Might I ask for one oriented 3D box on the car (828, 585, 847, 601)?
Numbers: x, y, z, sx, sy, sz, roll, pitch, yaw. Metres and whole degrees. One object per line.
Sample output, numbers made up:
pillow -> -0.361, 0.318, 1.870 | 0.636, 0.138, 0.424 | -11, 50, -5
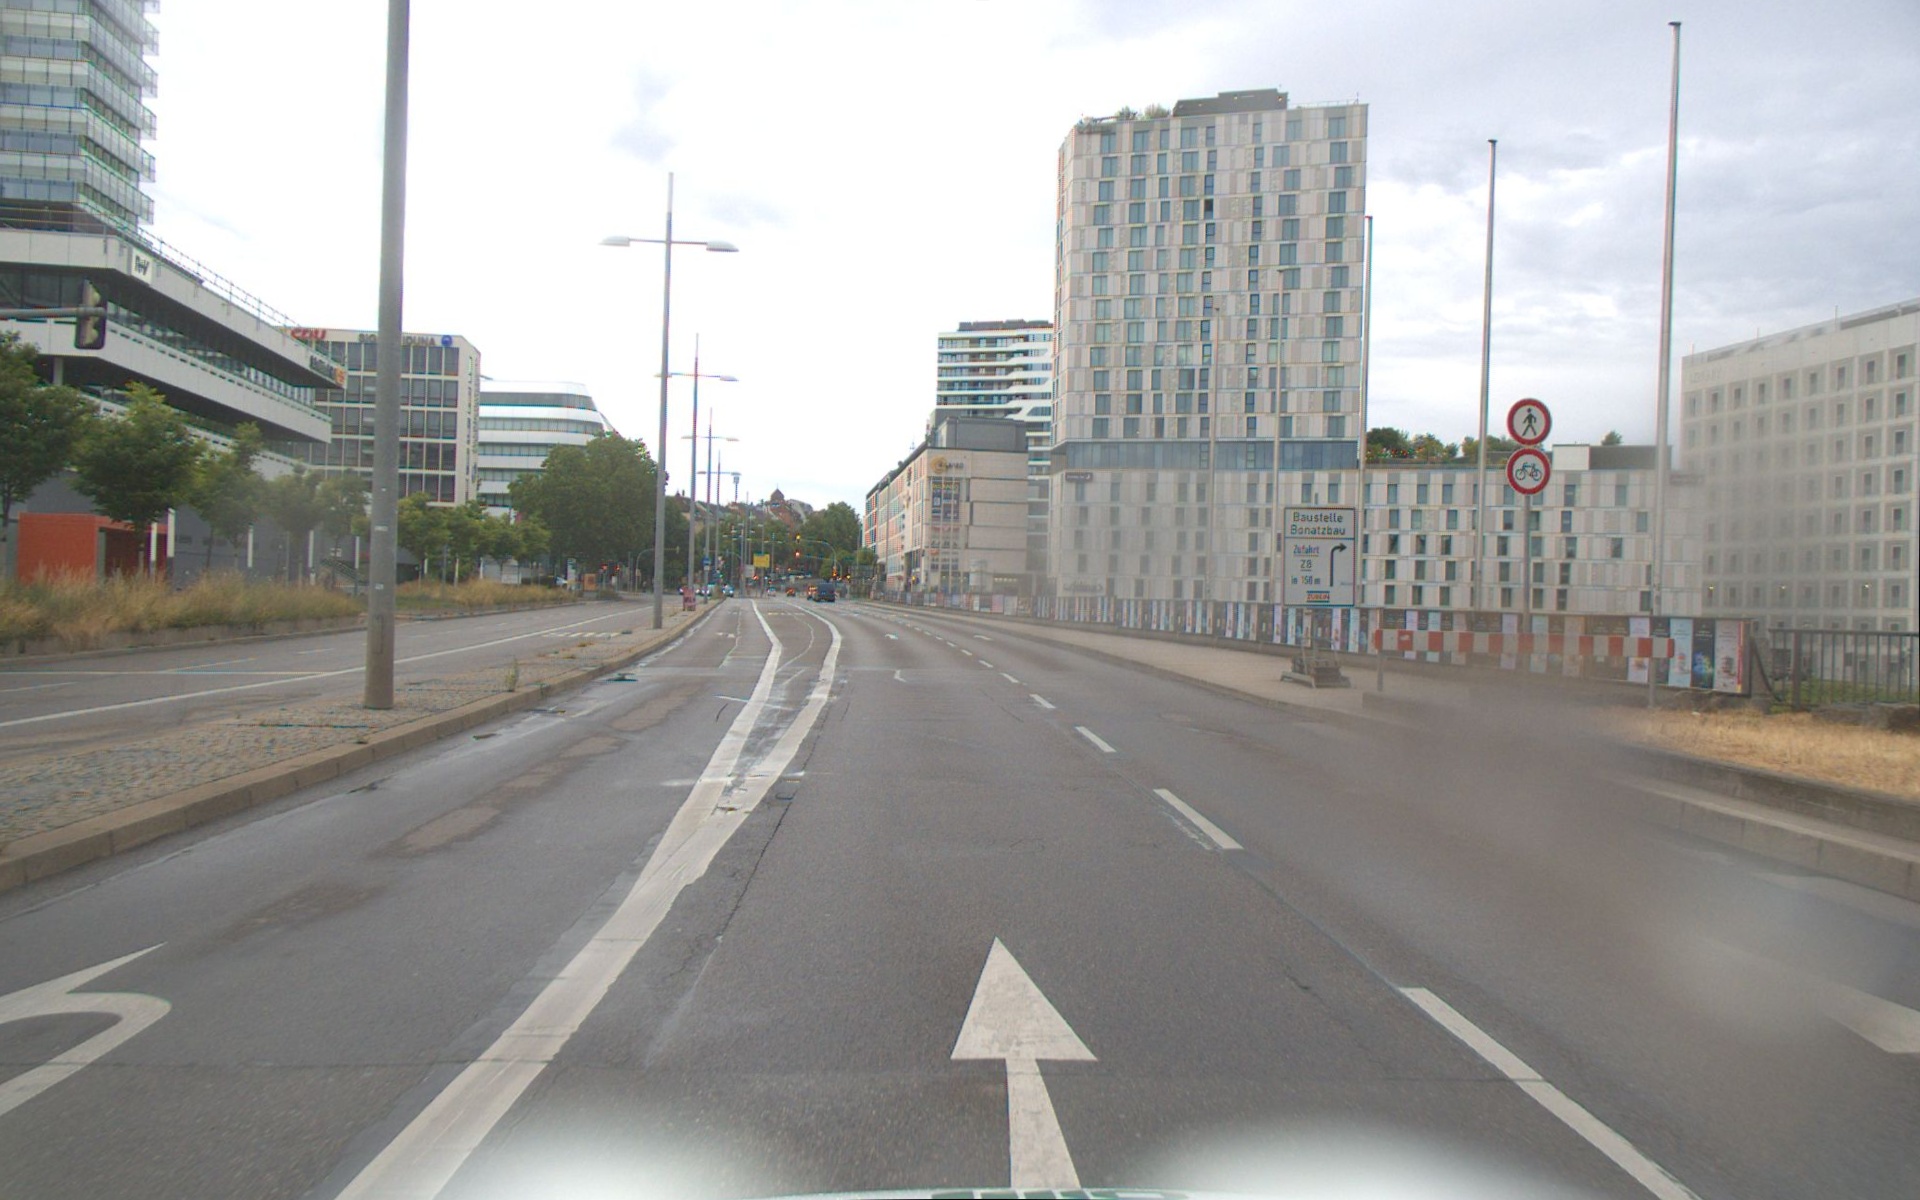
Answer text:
car -> -15.158, -0.898, 204.611 | 1.952, 1.847, 4.002 | 0, 2, 2

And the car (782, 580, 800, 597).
car -> -21.078, -1.416, 206.776 | 1.953, 2.048, 3.999 | 0, 2, -2

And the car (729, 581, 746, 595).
car -> -31.153, -1.652, 231.369 | 1.953, 1.813, 3.999 | 0, 2, -2

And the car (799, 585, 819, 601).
car -> -18.426, -0.829, 202.145 | 1.952, 1.847, 4.002 | 0, 2, 2

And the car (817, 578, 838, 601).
car -> -14.139, -1.072, 176.306 | 1.953, 2.384, 3.999 | 1, 0, -2
